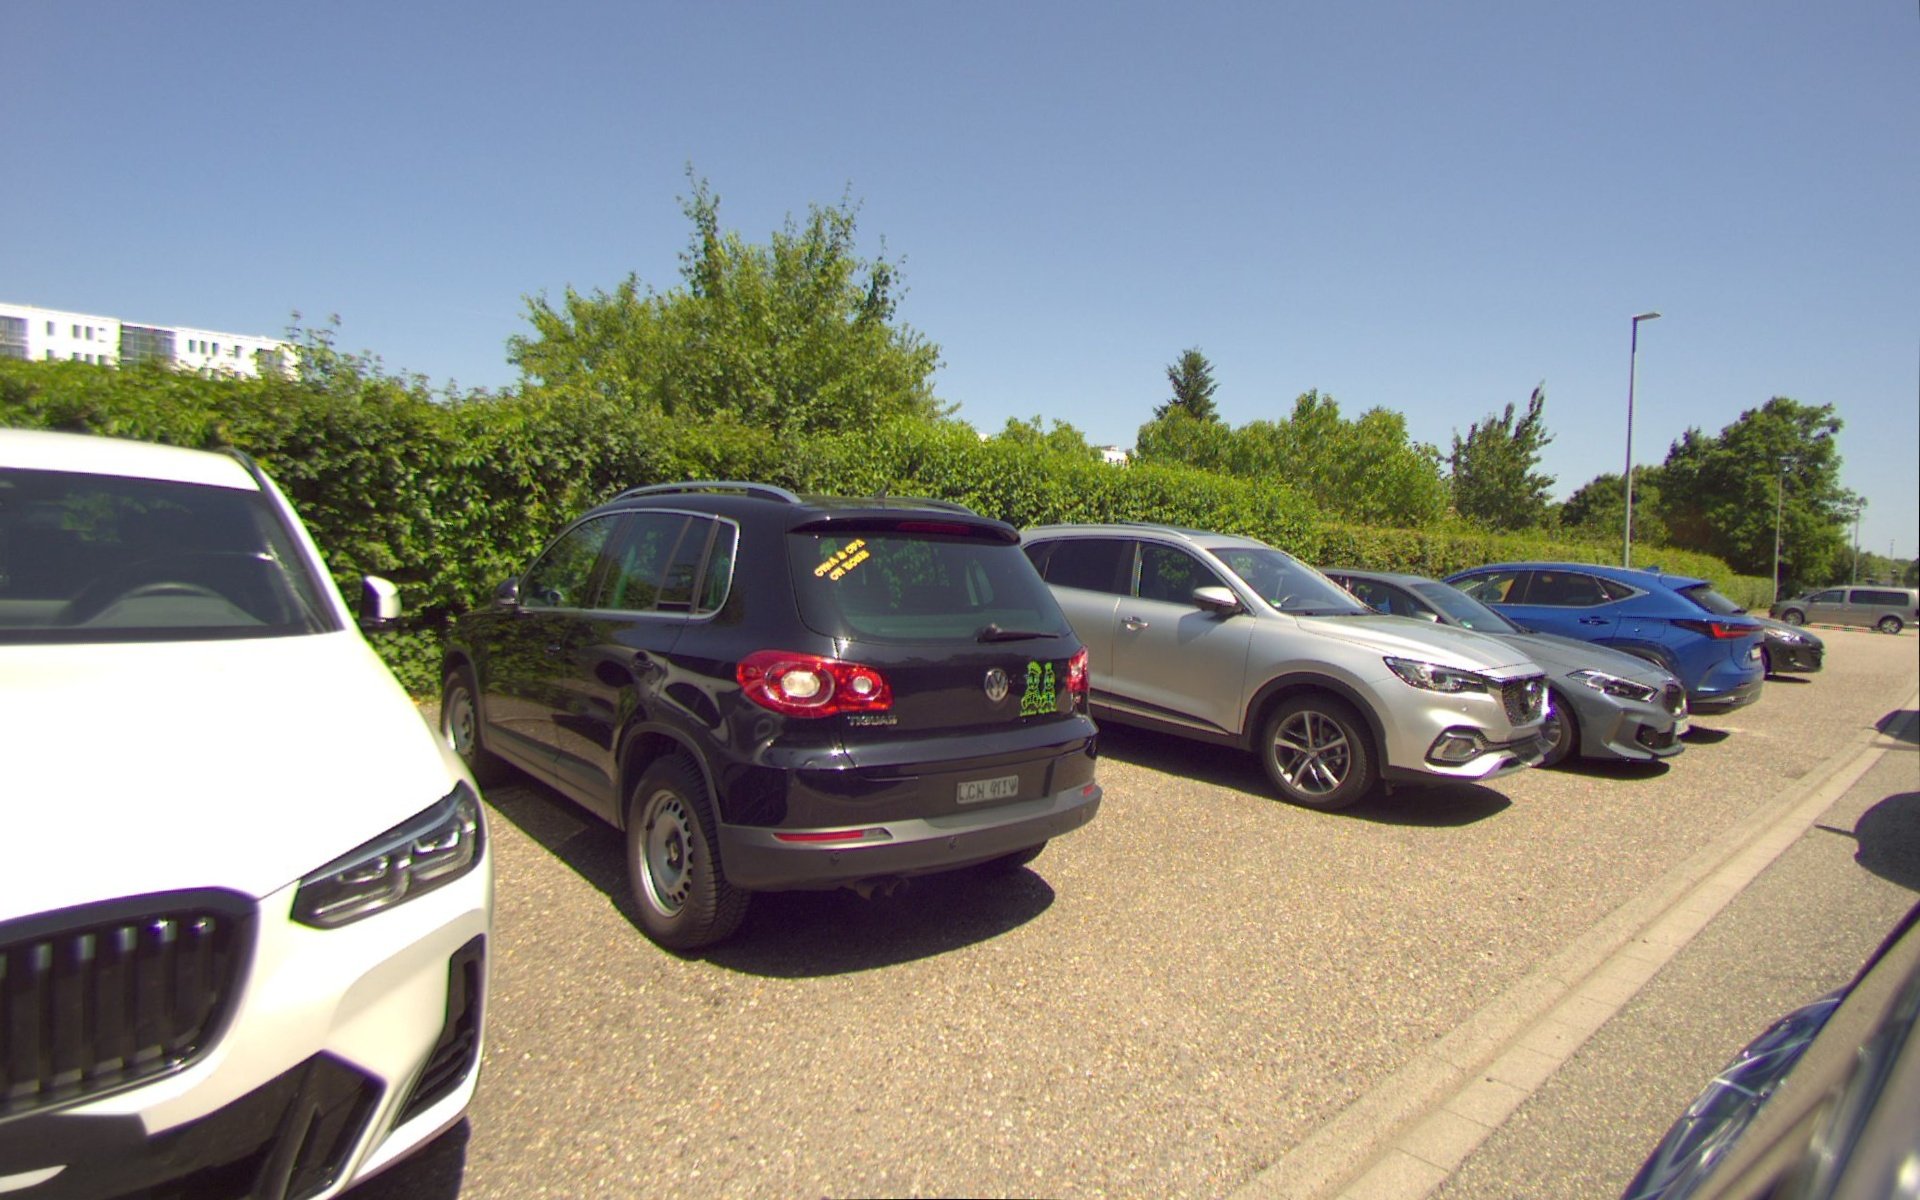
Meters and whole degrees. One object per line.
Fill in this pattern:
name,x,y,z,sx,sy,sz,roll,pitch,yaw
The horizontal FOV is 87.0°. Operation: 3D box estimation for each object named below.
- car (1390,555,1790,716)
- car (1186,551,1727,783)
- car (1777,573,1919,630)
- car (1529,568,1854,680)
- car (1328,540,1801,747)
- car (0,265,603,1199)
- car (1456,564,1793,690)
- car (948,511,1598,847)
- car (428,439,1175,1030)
car,7.979,0.323,13.139,1.621,1.532,4.036,0,5,-41
car,4.254,0.399,9.200,1.651,1.426,4.034,0,5,-42
car,36.008,0.013,40.823,4.485,1.873,1.668,7,5,44
car,12.493,0.312,17.527,1.621,1.435,4.251,0,5,-41
car,6.354,0.295,11.034,1.645,1.661,4.036,0,5,-41
car,-2.813,0.256,3.046,1.818,1.750,4.465,-1,5,-40
car,10.205,0.310,15.801,1.621,1.463,4.036,0,5,-41
car,1.992,0.282,7.422,1.746,1.661,4.166,0,5,-43
car,-1.132,0.248,4.975,1.736,1.706,3.981,0,4,-41
